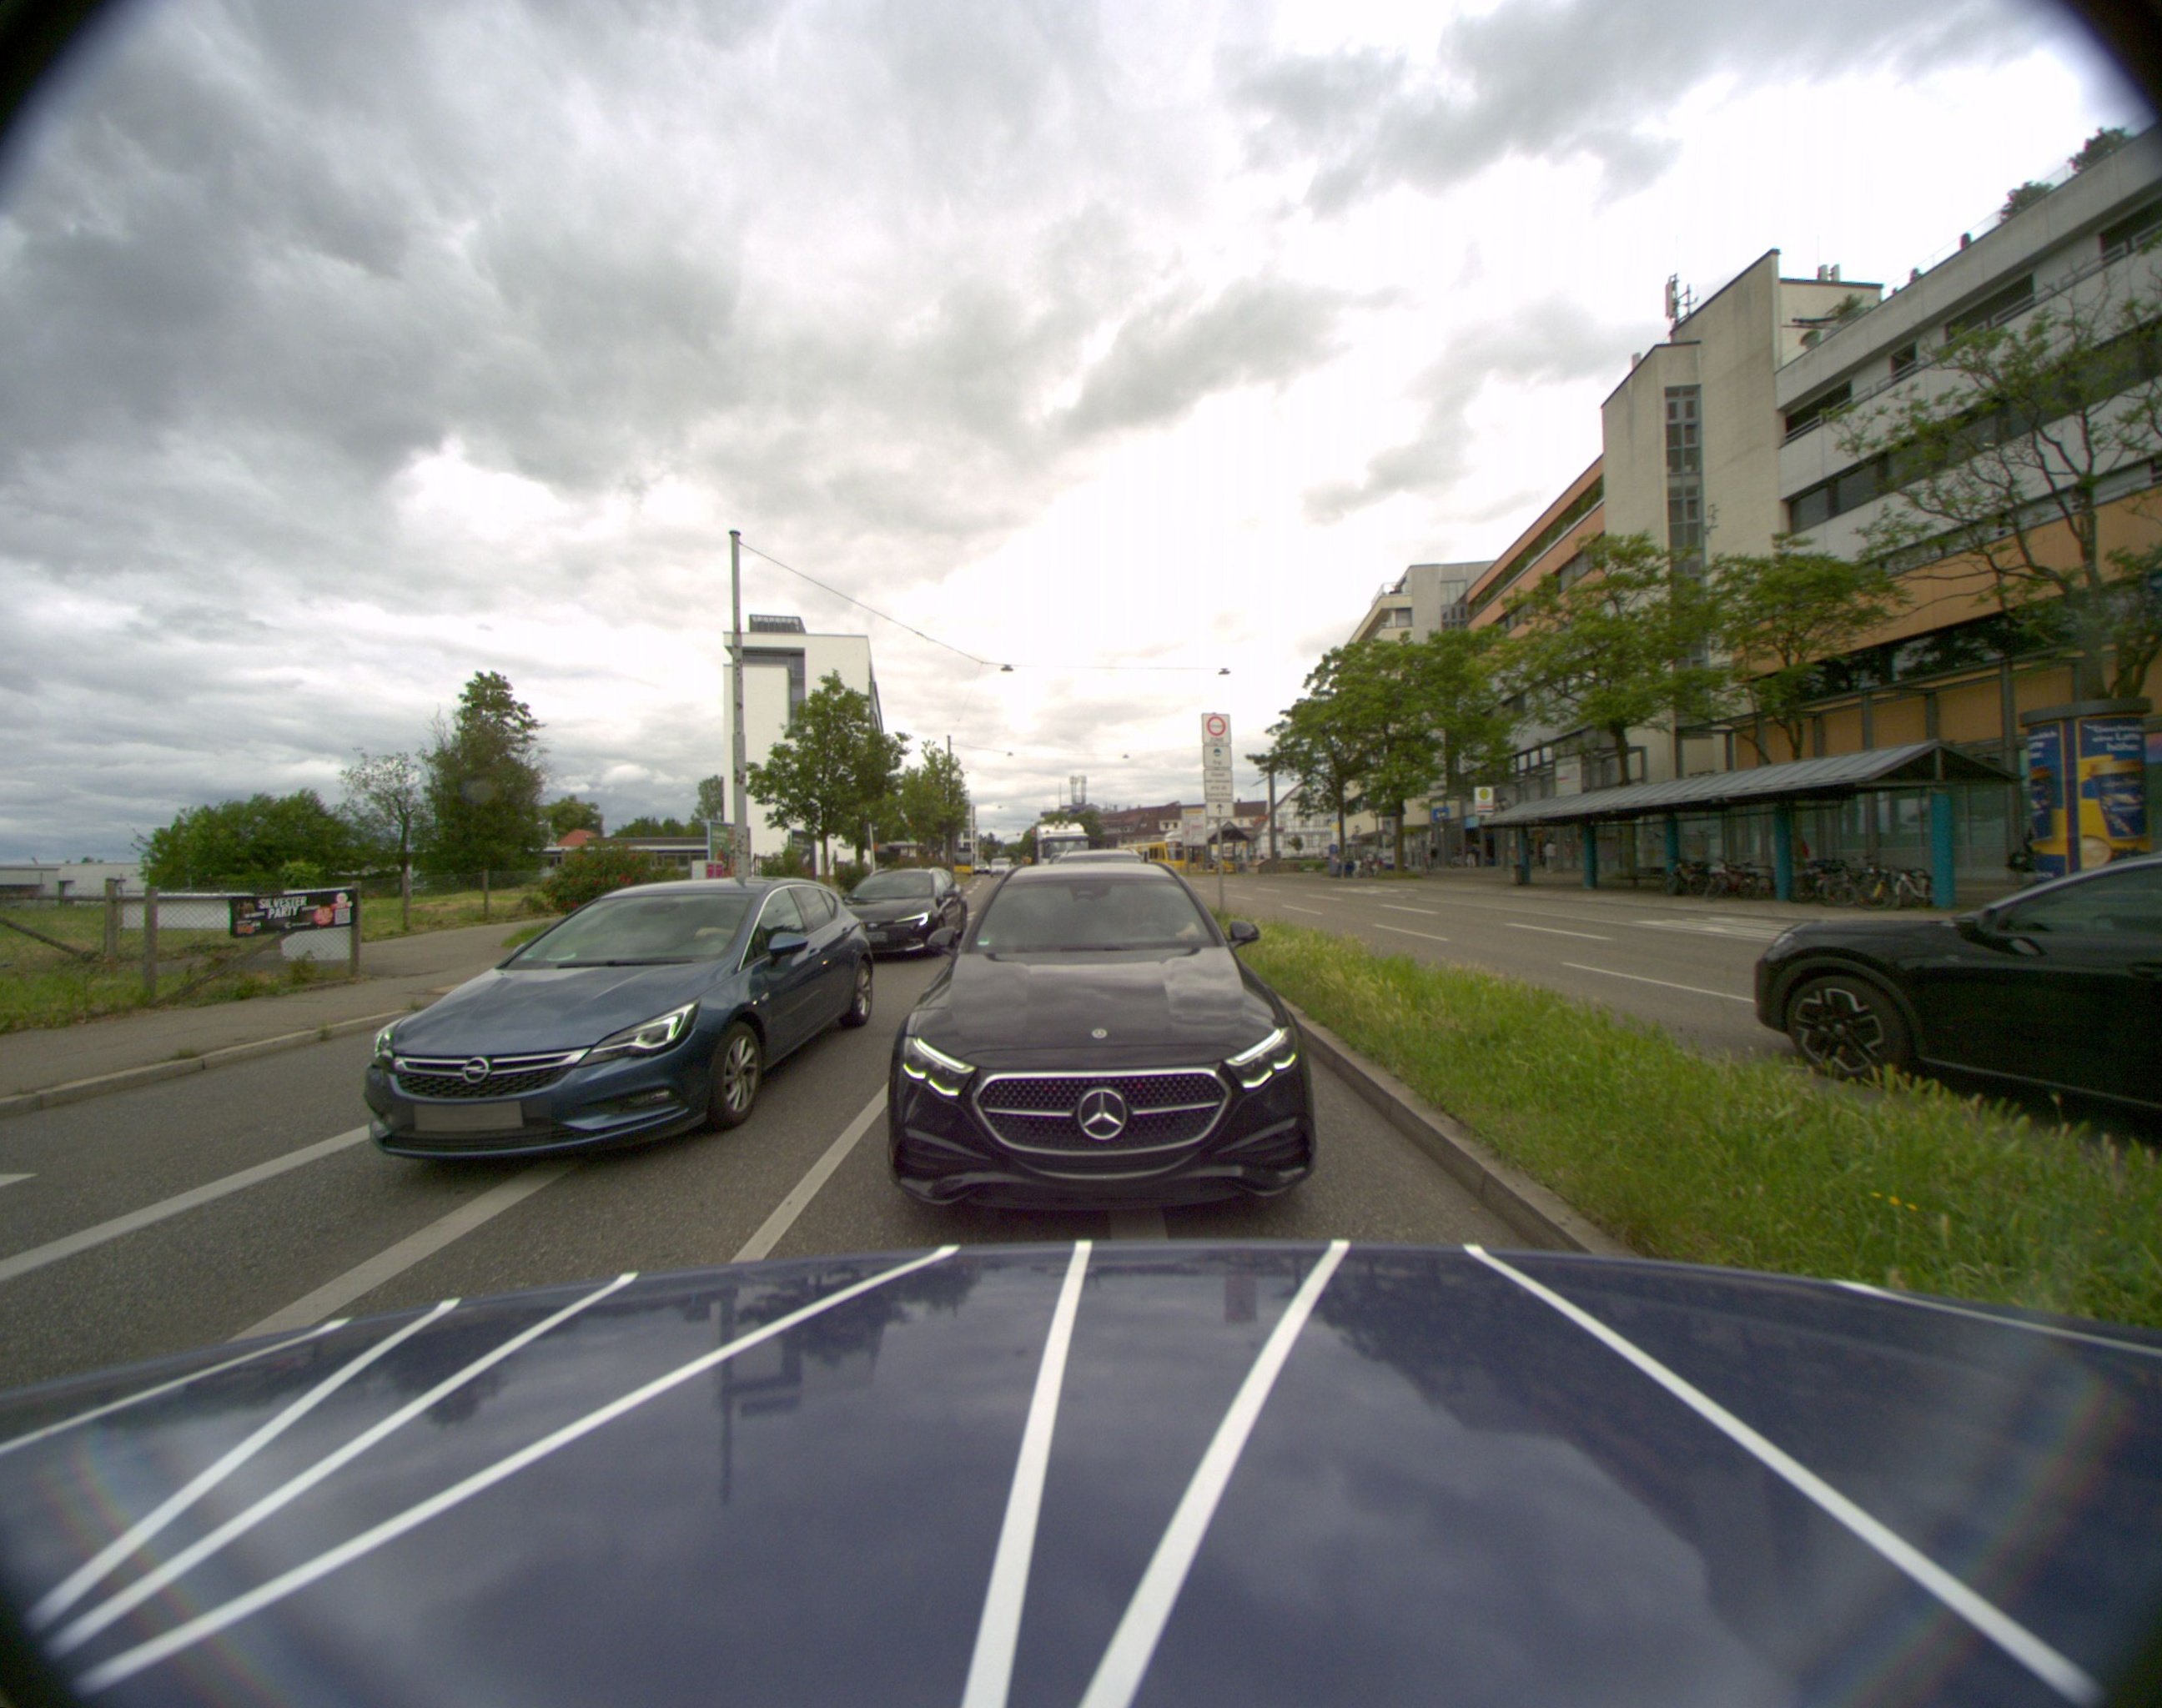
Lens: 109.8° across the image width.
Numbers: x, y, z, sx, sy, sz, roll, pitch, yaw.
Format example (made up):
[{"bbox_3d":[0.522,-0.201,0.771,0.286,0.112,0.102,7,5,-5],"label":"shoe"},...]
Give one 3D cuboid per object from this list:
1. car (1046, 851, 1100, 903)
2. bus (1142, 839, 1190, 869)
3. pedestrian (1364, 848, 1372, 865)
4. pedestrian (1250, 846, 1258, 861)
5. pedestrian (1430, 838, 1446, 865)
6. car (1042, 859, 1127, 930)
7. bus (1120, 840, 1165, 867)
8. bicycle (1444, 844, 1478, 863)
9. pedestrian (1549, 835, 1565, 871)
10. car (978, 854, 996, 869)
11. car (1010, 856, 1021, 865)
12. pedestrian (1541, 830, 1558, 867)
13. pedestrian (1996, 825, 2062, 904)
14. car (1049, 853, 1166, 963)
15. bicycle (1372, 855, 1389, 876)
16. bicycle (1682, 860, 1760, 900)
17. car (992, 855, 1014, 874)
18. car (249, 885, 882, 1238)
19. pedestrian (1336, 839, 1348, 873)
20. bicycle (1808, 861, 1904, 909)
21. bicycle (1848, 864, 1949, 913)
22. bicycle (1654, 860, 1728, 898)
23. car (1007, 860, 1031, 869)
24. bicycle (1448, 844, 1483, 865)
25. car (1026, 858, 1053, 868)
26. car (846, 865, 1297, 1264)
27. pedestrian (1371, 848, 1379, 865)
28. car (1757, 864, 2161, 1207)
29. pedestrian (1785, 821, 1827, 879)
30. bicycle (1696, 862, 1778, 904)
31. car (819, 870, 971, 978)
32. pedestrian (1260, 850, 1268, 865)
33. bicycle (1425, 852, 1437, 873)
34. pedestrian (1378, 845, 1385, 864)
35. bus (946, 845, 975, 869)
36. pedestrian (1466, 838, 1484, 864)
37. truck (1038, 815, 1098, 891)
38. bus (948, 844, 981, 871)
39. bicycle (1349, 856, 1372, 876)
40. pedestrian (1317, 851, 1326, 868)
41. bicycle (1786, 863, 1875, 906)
[{"bbox_3d":[-0.360,0.801,28.341,1.865,1.773,3.999,-1,0,-2],"label":"car"},{"bbox_3d":[8.707,-0.006,79.009,2.556,2.966,8.498,-1,0,-11],"label":"bus"},{"bbox_3d":[25.076,0.246,66.487,0.555,1.485,0.454,-1,1,8],"label":"pedestrian"},{"bbox_3d":[22.554,-0.048,98.948,0.879,2.002,1.010,-1,1,6],"label":"pedestrian"},{"bbox_3d":[24.518,-0.166,52.203,0.765,1.835,0.752,-1,1,1],"label":"pedestrian"},{"bbox_3d":[0.050,0.904,18.904,1.865,1.520,3.999,-1,0,-1],"label":"car"},{"bbox_3d":[6.943,-0.085,87.945,2.556,2.966,9.790,-1,0,-11],"label":"bus"},{"bbox_3d":[27.763,-0.037,55.545,2.138,1.358,0.620,-2,1,26],"label":"bicycle"},{"bbox_3d":[24.105,-0.057,38.482,0.648,1.799,0.761,0,1,34],"label":"pedestrian"},{"bbox_3d":[-12.419,0.998,100.353,1.853,1.875,4.132,-3,0,-12],"label":"car"},{"bbox_3d":[-13.150,1.298,152.330,2.000,1.811,3.996,-1,0,-10],"label":"car"},{"bbox_3d":[25.603,-0.311,41.514,0.566,2.002,0.611,-1,1,6],"label":"pedestrian"},{"bbox_3d":[21.834,0.232,17.511,0.531,1.776,0.770,-1,1,-7],"label":"pedestrian"},{"bbox_3d":[0.397,0.814,13.477,1.734,1.601,4.000,-2,0,0],"label":"car"},{"bbox_3d":[16.408,0.613,41.640,0.593,1.071,2.041,0,1,29],"label":"bicycle"},{"bbox_3d":[18.289,0.736,21.737,1.735,1.035,0.549,-4,1,-2],"label":"bicycle"},{"bbox_3d":[-6.917,0.897,67.271,1.852,1.606,3.781,-3,0,-6],"label":"car"},{"bbox_3d":[-2.909,1.044,5.522,1.826,1.402,4.000,-2,0,0],"label":"car"},{"bbox_3d":[17.516,0.119,51.042,0.590,2.294,0.608,-1,1,-2],"label":"pedestrian"},{"bbox_3d":[18.631,0.744,18.278,1.735,1.035,0.549,-3,1,-2],"label":"bicycle"},{"bbox_3d":[18.690,0.777,17.392,1.735,1.035,0.549,-2,1,-2],"label":"bicycle"},{"bbox_3d":[18.210,0.740,22.697,1.735,1.035,0.549,-3,1,-2],"label":"bicycle"},{"bbox_3d":[-11.462,1.917,140.857,3.989,1.545,1.854,-1,1,29],"label":"car"},{"bbox_3d":[27.001,0.021,53.394,2.139,1.367,0.620,-2,1,18],"label":"bicycle"},{"bbox_3d":[-7.066,1.564,129.857,4.006,1.592,1.995,-1,1,-29],"label":"car"},{"bbox_3d":[-0.048,0.878,5.185,1.793,1.507,4.249,-1,0,0],"label":"car"},{"bbox_3d":[25.723,0.182,66.470,0.555,1.485,0.454,-1,1,8],"label":"pedestrian"},{"bbox_3d":[5.830,0.850,3.350,1.840,1.512,4.069,1,1,-6],"label":"car"},{"bbox_3d":[25.685,-0.148,26.933,0.710,2.002,0.793,-2,1,-12],"label":"pedestrian"},{"bbox_3d":[17.953,0.782,20.804,1.735,1.035,0.549,-3,1,-2],"label":"bicycle"},{"bbox_3d":[-3.049,1.082,13.261,1.665,1.448,3.921,-2,0,0],"label":"car"},{"bbox_3d":[19.281,0.354,80.041,0.577,1.533,0.583,-1,1,-8],"label":"pedestrian"},{"bbox_3d":[19.493,0.460,42.379,0.593,1.119,2.040,0,1,24],"label":"bicycle"},{"bbox_3d":[26.043,0.026,65.847,0.486,1.629,0.439,-2,1,18],"label":"pedestrian"},{"bbox_3d":[-15.213,0.336,95.046,2.969,2.616,12.911,-2,1,-11],"label":"bus"},{"bbox_3d":[24.924,-0.184,48.093,0.765,1.673,0.752,-1,1,1],"label":"pedestrian"},{"bbox_3d":[-0.760,-0.051,36.719,2.490,3.258,7.428,-1,0,-4],"label":"truck"},{"bbox_3d":[-12.808,0.381,82.722,2.969,2.616,12.137,-2,1,-11],"label":"bus"},{"bbox_3d":[15.485,0.646,42.011,0.593,1.071,2.041,0,1,38],"label":"bicycle"},{"bbox_3d":[22.300,0.517,70.400,0.577,1.533,0.583,-1,1,-8],"label":"pedestrian"},{"bbox_3d":[19.030,0.767,19.303,1.735,1.035,0.549,-2,1,-2],"label":"bicycle"}]
